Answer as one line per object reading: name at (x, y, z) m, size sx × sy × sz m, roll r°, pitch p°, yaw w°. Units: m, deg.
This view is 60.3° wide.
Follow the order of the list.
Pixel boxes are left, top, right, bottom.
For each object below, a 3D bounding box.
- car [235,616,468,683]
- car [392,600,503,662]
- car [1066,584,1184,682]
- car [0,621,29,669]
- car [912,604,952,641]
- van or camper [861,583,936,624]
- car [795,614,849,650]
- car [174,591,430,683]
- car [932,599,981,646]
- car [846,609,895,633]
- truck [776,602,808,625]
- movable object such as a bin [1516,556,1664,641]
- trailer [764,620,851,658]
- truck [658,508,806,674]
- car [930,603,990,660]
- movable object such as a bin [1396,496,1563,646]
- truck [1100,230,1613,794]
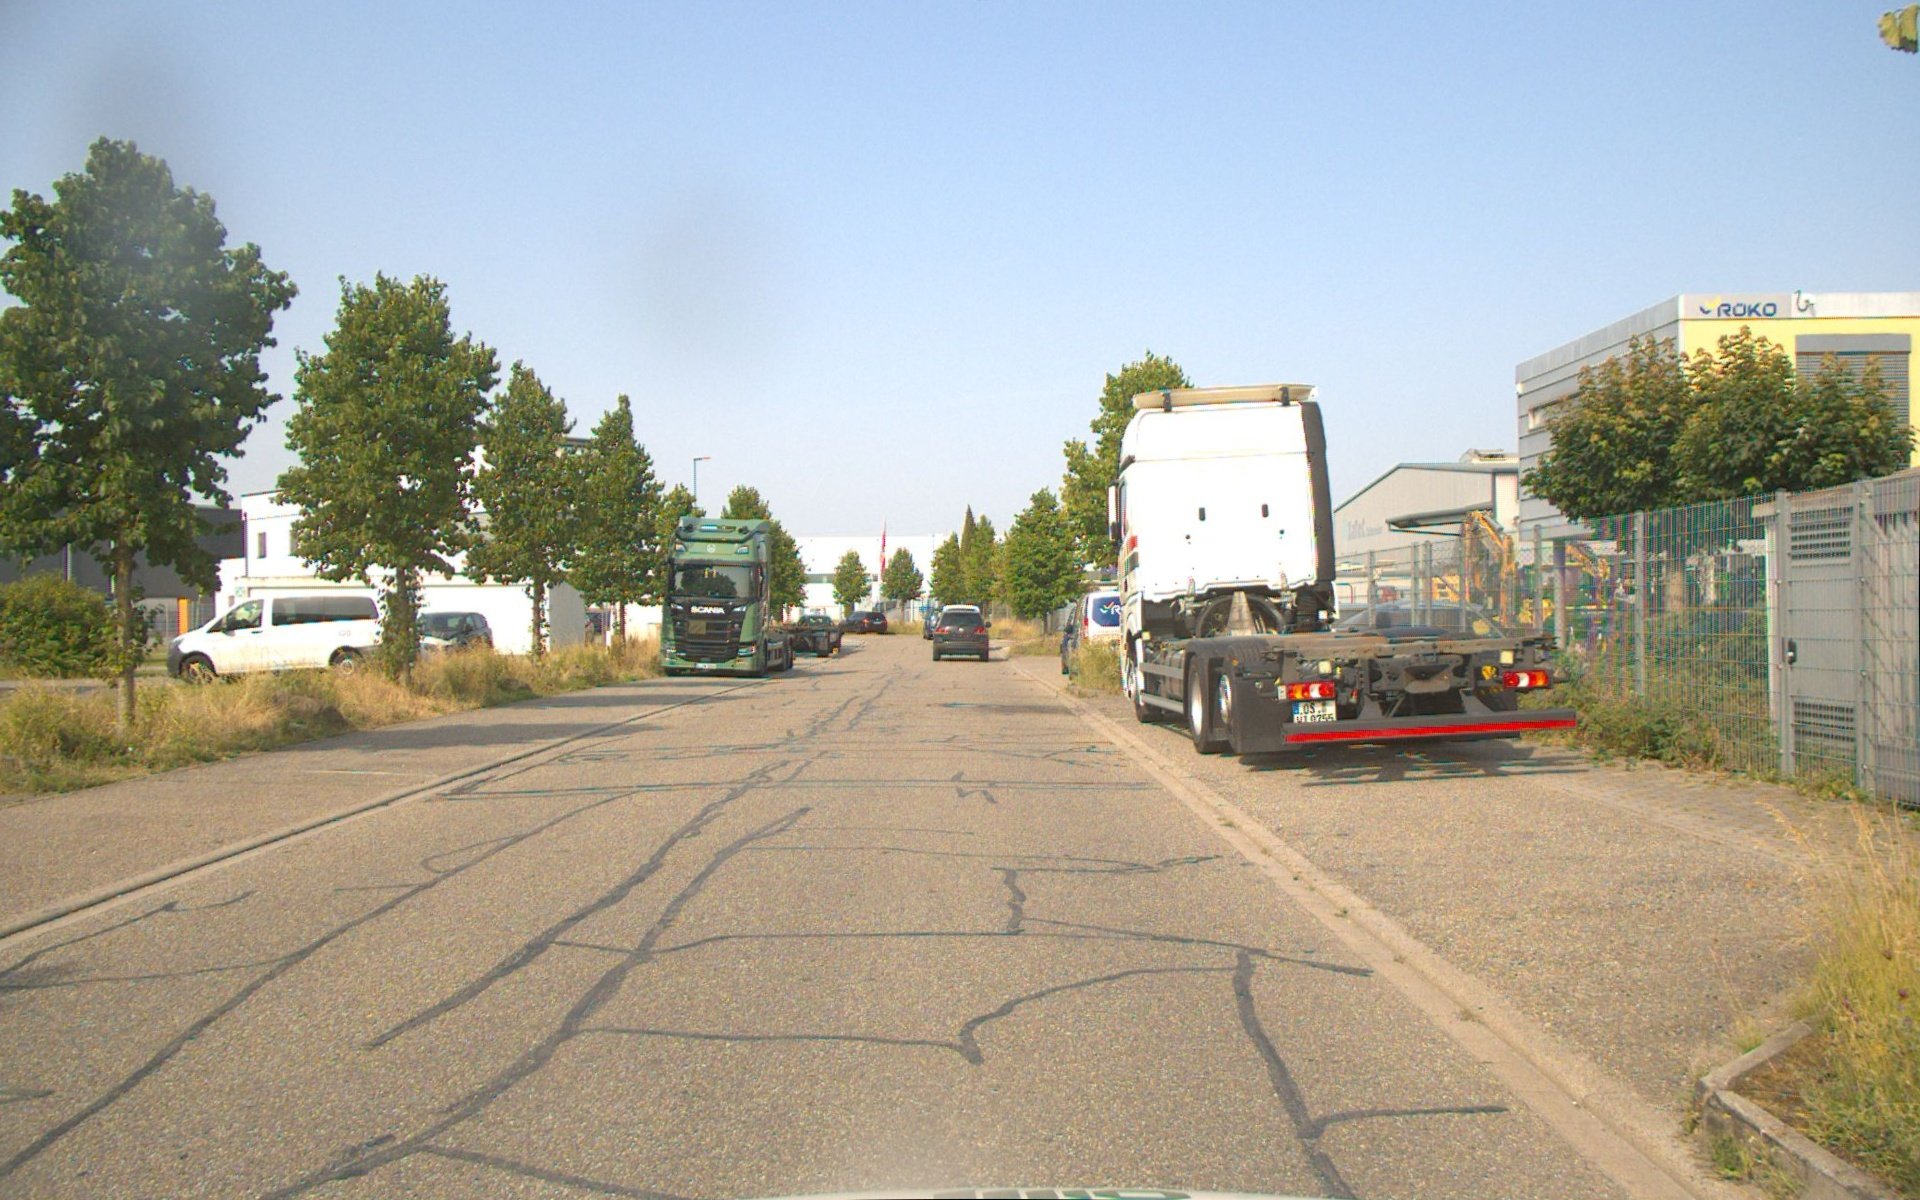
car at (-13.998, 1.124, 38.205) m, size 4.628 × 1.456 × 2.001 m, roll -1°, pitch 0°, yaw 2°
car at (-15.218, 0.889, 49.363) m, size 1.953 × 1.716 × 4.697 m, roll -1°, pitch 0°, yaw -2°
car at (3.233, 0.673, 33.248) m, size 1.952 × 1.821 × 4.599 m, roll 0°, pitch -1°, yaw 1°
car at (-34.096, 1.582, 57.461) m, size 1.808 × 1.641 × 4.140 m, roll -1°, pitch -1°, yaw -11°
car at (-1.435, 1.152, 86.152) m, size 1.953 × 1.836 × 4.000 m, roll 1°, pitch 0°, yaw 0°
van or camper at (-4.563, 0.274, 120.789) m, size 2.325 × 2.898 × 7.263 m, roll 0°, pitch -1°, yaw -31°
car at (-6.076, 1.385, 73.161) m, size 1.953 × 1.492 × 4.432 m, roll 1°, pitch 0°, yaw 0°
car at (-13.983, 0.771, 35.348) m, size 4.608 × 1.868 × 2.103 m, roll -1°, pitch 0°, yaw 0°
car at (-0.197, 0.943, 71.158) m, size 1.953 × 1.933 × 4.465 m, roll -1°, pitch 0°, yaw -2°
car at (-5.759, 1.328, 105.946) m, size 1.965 × 1.501 × 3.974 m, roll 1°, pitch 0°, yaw -22°
truck at (-17.292, 1.424, 170.754) m, size 2.400 × 2.305 × 8.002 m, roll 0°, pitch 0°, yaw 0°
movable object such as a bin at (22.244, -0.059, 58.755) m, size 2.646 × 2.763 × 6.346 m, roll -1°, pitch 0°, yaw -2°
trailer at (-5.701, 1.437, 62.768) m, size 2.085 × 1.254 × 7.161 m, roll 1°, pitch 0°, yaw 4°
truck at (-5.943, -0.141, 44.681) m, size 2.405 × 3.950 × 9.802 m, roll 1°, pitch -1°, yaw 1°
car at (0.003, 1.052, 56.431) m, size 1.953 × 1.836 × 4.000 m, roll 1°, pitch 0°, yaw 0°
movable object such as a bin at (18.181, -0.968, 58.469) m, size 3.249 × 4.890 × 7.670 m, roll -1°, pitch 0°, yaw -2°
truck at (3.375, -0.659, 17.182) m, size 2.690 × 4.085 × 9.684 m, roll -3°, pitch 0°, yaw -1°
